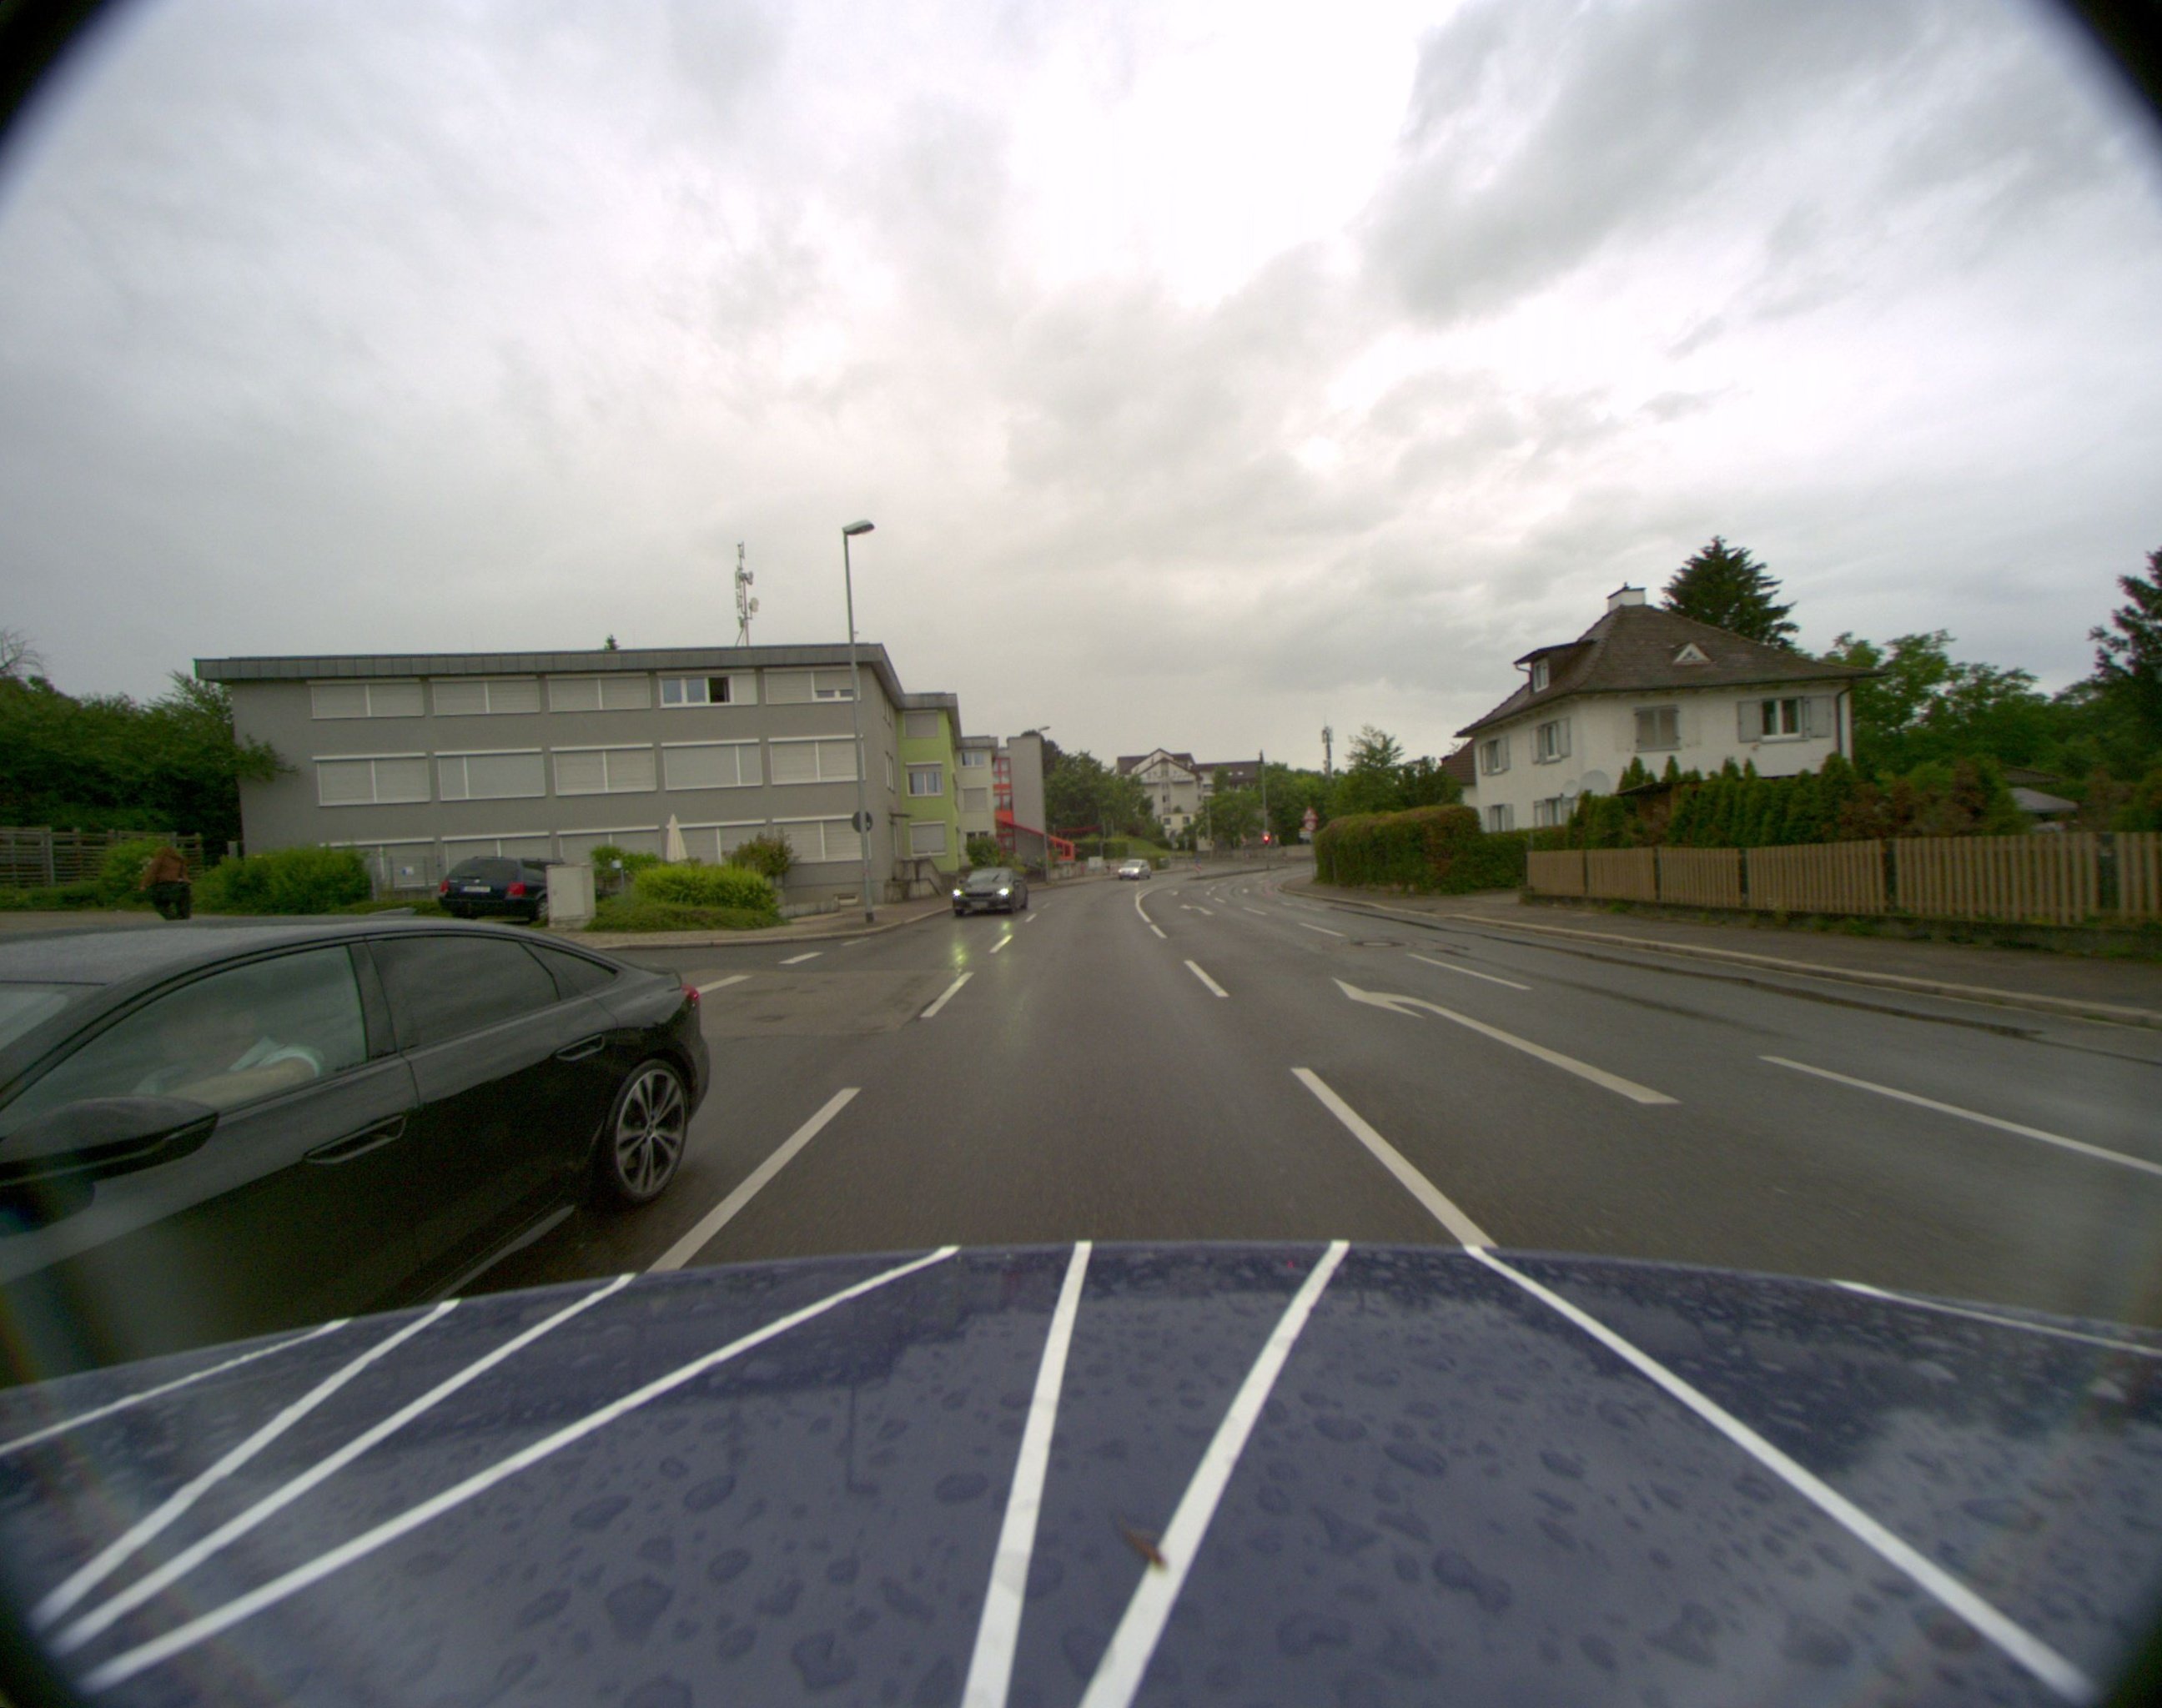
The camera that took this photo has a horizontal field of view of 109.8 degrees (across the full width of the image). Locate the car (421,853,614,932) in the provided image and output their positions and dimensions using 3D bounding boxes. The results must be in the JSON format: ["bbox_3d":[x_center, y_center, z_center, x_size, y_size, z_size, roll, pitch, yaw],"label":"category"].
[{"bbox_3d":[-12.694,0.795,17.476,1.815,1.518,3.996,1,1,-7],"label":"car"}]

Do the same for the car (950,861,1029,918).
[{"bbox_3d":[-2.953,1.116,25.429,1.872,1.510,4.000,-3,2,3],"label":"car"}]

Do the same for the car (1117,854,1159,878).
[{"bbox_3d":[4.526,0.902,60.177,1.995,1.647,4.005,-2,2,24],"label":"car"}]

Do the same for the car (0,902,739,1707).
[{"bbox_3d":[-2.912,1.087,1.941,1.871,1.416,4.737,-3,2,0],"label":"car"}]

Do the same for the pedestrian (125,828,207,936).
[{"bbox_3d":[-17.265,0.513,14.348,0.718,2.002,0.614,0,2,-9],"label":"pedestrian"}]
